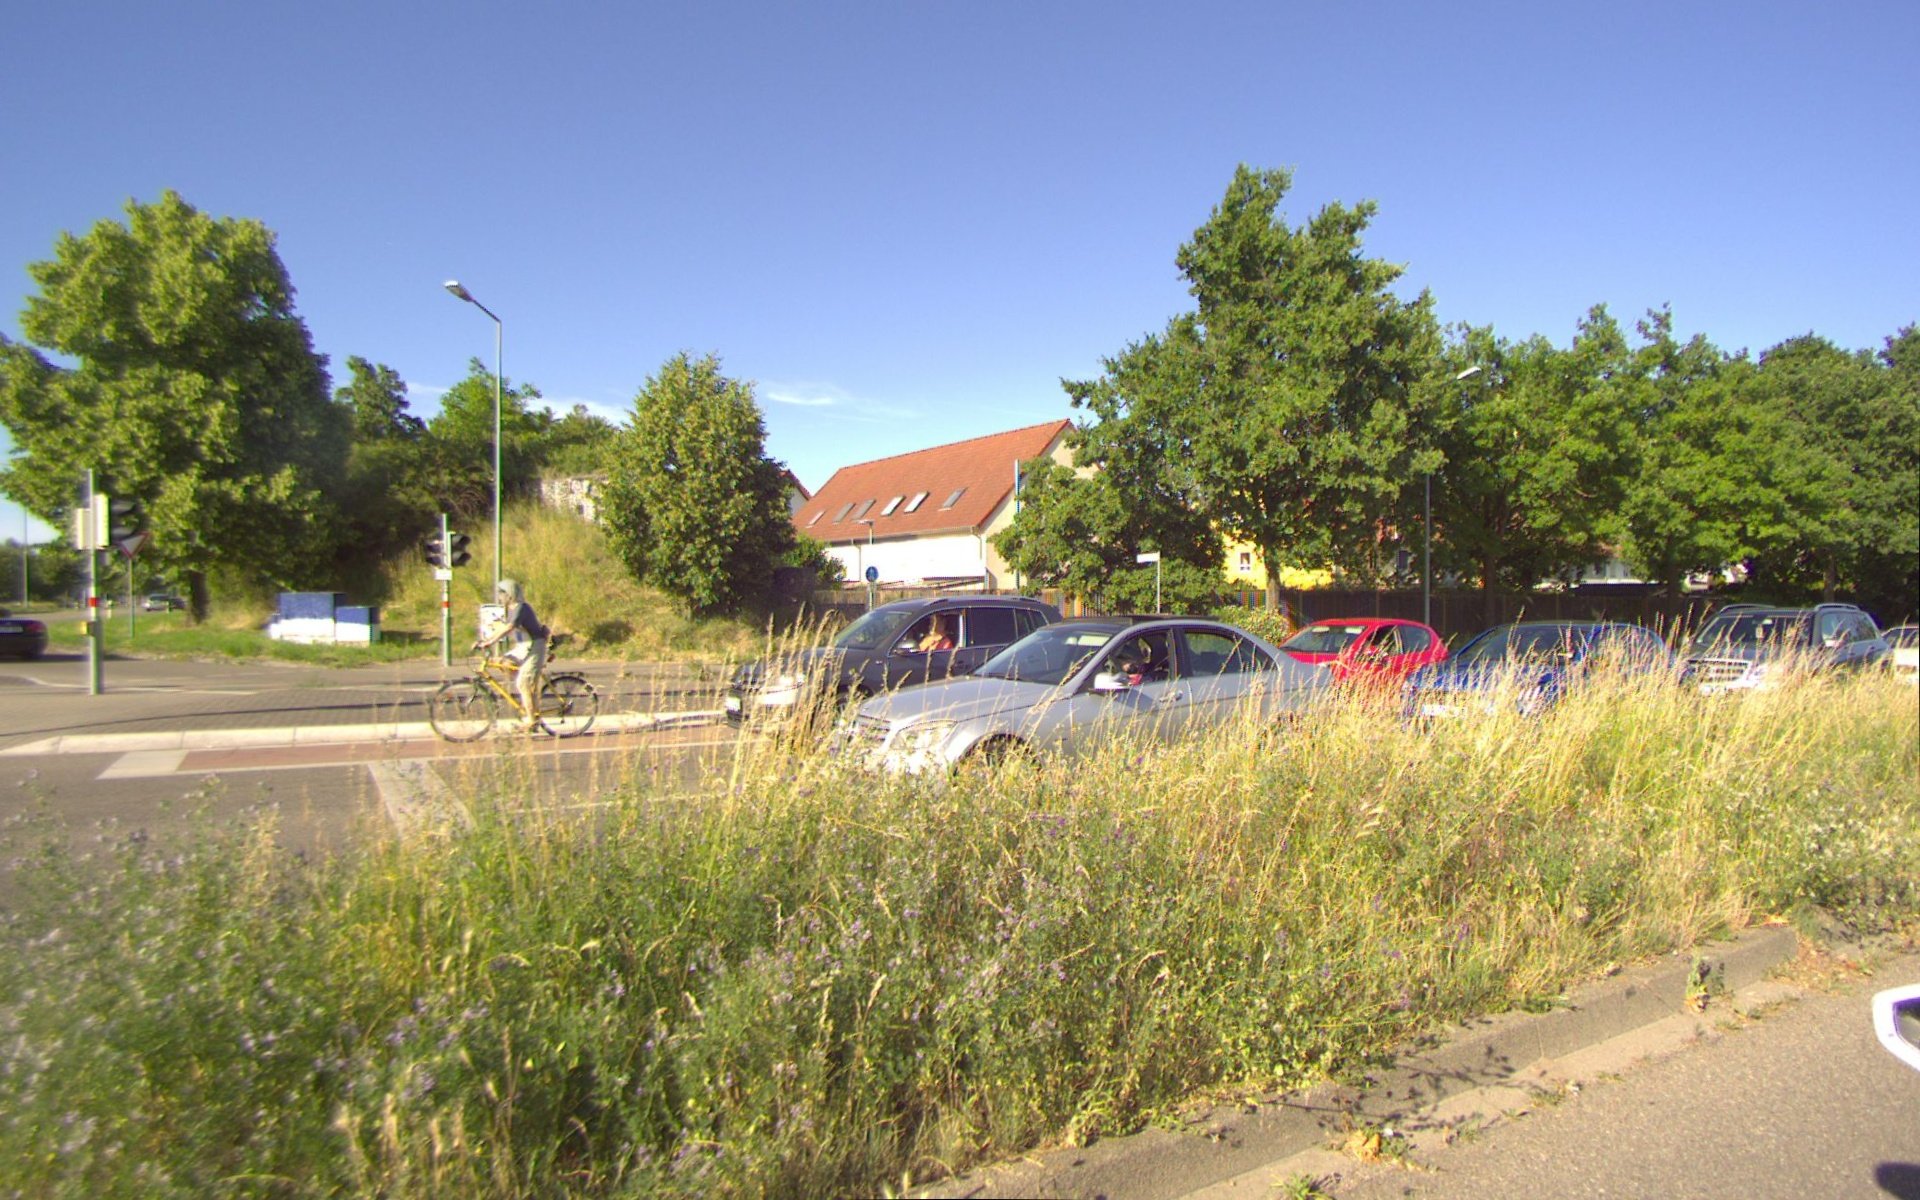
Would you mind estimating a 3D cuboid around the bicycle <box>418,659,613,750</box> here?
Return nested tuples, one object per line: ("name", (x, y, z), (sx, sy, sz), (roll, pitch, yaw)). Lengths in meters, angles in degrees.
("bicycle", (-5.054, 1.151, 11.456), (1.967, 0.859, 0.745), (0, 0, -31))

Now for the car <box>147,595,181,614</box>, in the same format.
("car", (-74.233, 0.418, 93.699), (2.026, 1.638, 4.377), (-3, 1, -33))

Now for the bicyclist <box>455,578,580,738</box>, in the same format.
("bicyclist", (-5.043, 0.628, 11.450), (1.228, 1.725, 0.741), (0, 0, -31))

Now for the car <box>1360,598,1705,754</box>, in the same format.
("car", (6.520, 0.740, 11.375), (3.842, 1.503, 1.738), (0, 0, -30))

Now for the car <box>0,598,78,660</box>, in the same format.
("car", (-22.812, 0.596, 22.680), (4.588, 1.327, 2.049), (1, -1, 14))

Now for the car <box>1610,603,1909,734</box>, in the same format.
("car", (11.652, 0.871, 14.581), (4.478, 1.638, 1.983), (0, 0, -31))

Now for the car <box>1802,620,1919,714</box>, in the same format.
("car", (17.125, 1.125, 17.884), (4.348, 1.470, 1.983), (0, 0, -31))

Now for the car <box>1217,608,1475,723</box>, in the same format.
("car", (5.715, 0.873, 14.798), (3.669, 1.503, 1.637), (0, 0, -30))

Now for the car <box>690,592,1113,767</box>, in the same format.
("car", (-0.611, 0.765, 11.537), (4.477, 1.666, 1.984), (0, 0, -30))

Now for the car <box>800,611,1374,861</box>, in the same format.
("car", (1.131, 0.860, 8.126), (4.477, 1.526, 1.785), (0, 0, -30))
